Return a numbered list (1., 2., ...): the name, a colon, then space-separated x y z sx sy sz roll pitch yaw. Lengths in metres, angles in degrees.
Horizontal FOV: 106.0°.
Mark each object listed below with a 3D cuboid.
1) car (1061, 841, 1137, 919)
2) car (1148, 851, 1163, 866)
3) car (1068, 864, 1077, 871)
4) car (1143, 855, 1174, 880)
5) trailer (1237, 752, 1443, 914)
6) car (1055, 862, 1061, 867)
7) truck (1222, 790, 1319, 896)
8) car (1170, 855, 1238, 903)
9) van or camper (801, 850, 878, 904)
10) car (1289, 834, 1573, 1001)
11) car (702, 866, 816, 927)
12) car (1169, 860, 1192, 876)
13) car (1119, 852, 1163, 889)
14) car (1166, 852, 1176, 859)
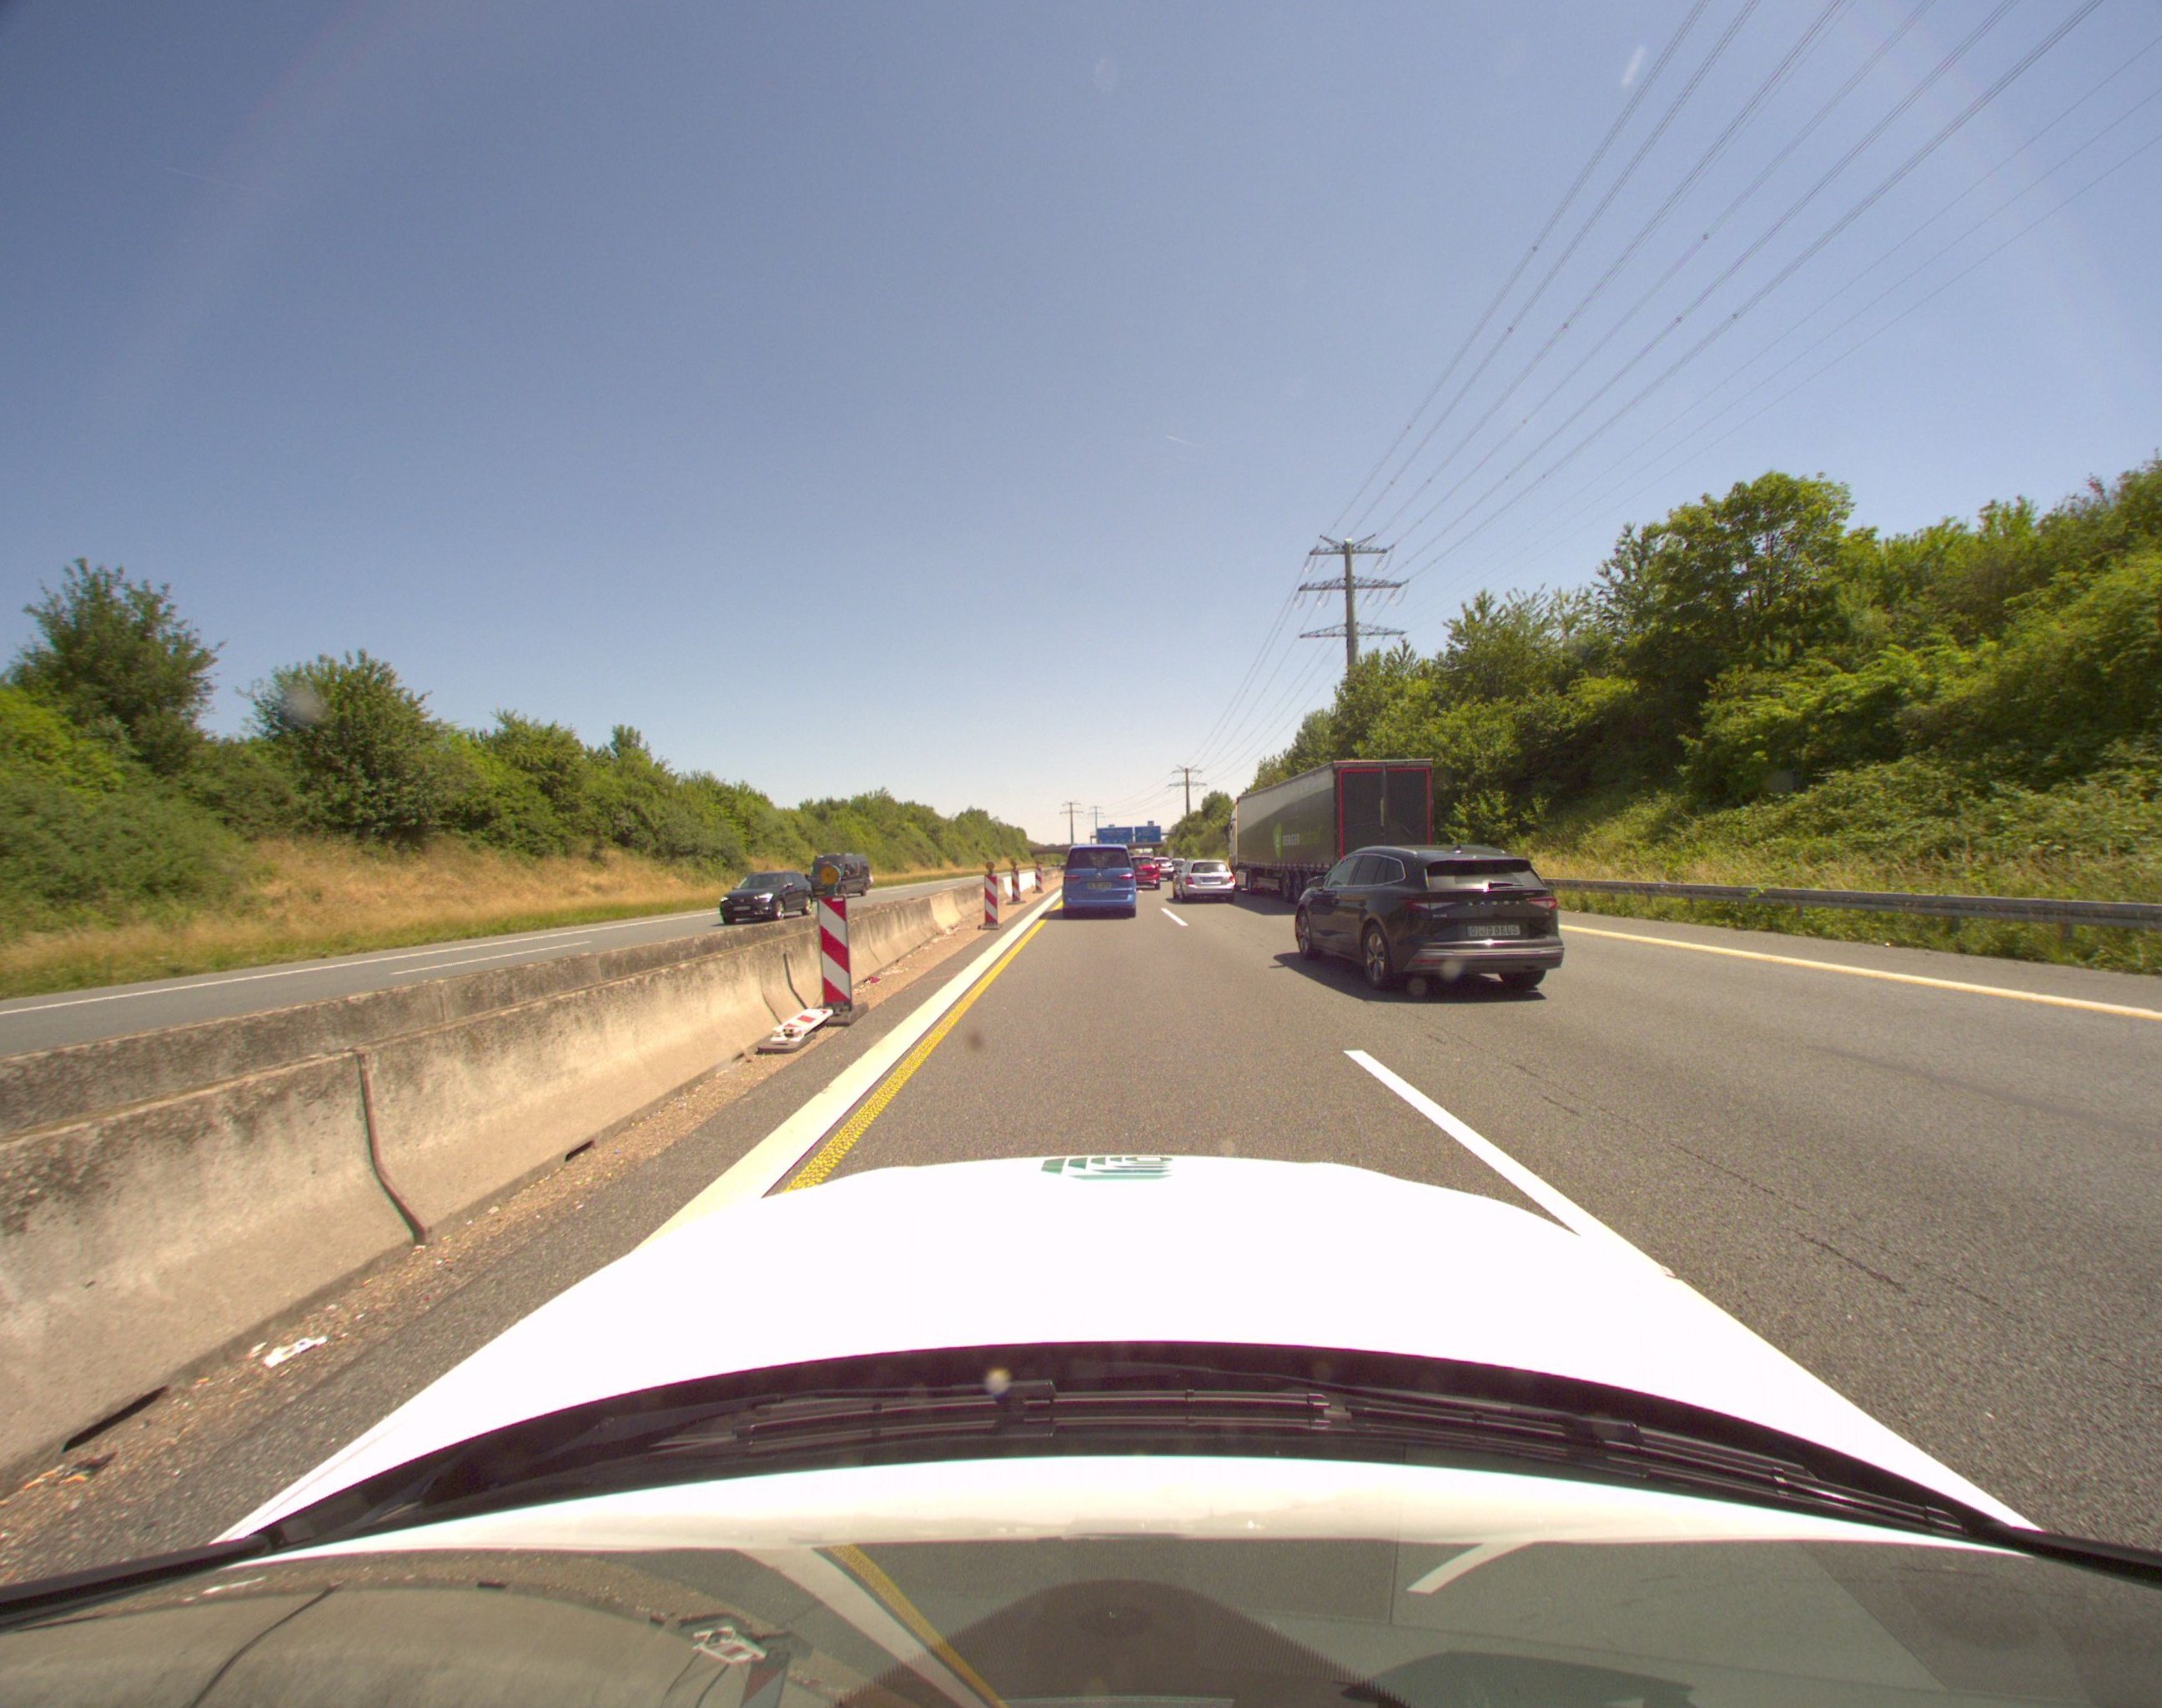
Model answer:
1. car: 0.466 0.655 22.228 1.868 1.912 4.359 0 -1 0
2. car: 10.709 0.646 117.484 1.791 2.014 4.227 0 -1 1
3. car: -2.087 3.233 197.034 1.855 1.490 4.495 -3 0 2
4. car: 5.100 0.874 54.067 1.791 1.594 4.227 0 -1 1
5. trailer: 7.717 -0.466 26.876 2.774 4.047 13.112 0 -1 1
6. car: -7.061 3.369 254.727 1.703 1.464 3.849 -3 -1 0
7. truck: 7.770 -0.397 34.141 2.724 4.047 5.792 0 -1 0
8. car: 4.198 0.825 28.402 1.765 1.517 4.359 0 -1 0
9. van or camper: -13.837 1.260 47.227 2.215 2.711 7.079 -4 -1 0
10. car: 4.054 0.650 10.327 1.695 1.655 4.429 0 -1 0
11. car: -10.540 1.324 26.997 1.987 1.684 4.153 -4 0 0
12. car: 8.955 1.240 73.490 1.695 1.448 3.788 0 -1 1
13. car: 2.871 0.789 39.696 1.868 1.671 4.359 0 -1 0
14. car: 21.857 0.265 197.697 1.868 1.671 4.359 0 -1 0
